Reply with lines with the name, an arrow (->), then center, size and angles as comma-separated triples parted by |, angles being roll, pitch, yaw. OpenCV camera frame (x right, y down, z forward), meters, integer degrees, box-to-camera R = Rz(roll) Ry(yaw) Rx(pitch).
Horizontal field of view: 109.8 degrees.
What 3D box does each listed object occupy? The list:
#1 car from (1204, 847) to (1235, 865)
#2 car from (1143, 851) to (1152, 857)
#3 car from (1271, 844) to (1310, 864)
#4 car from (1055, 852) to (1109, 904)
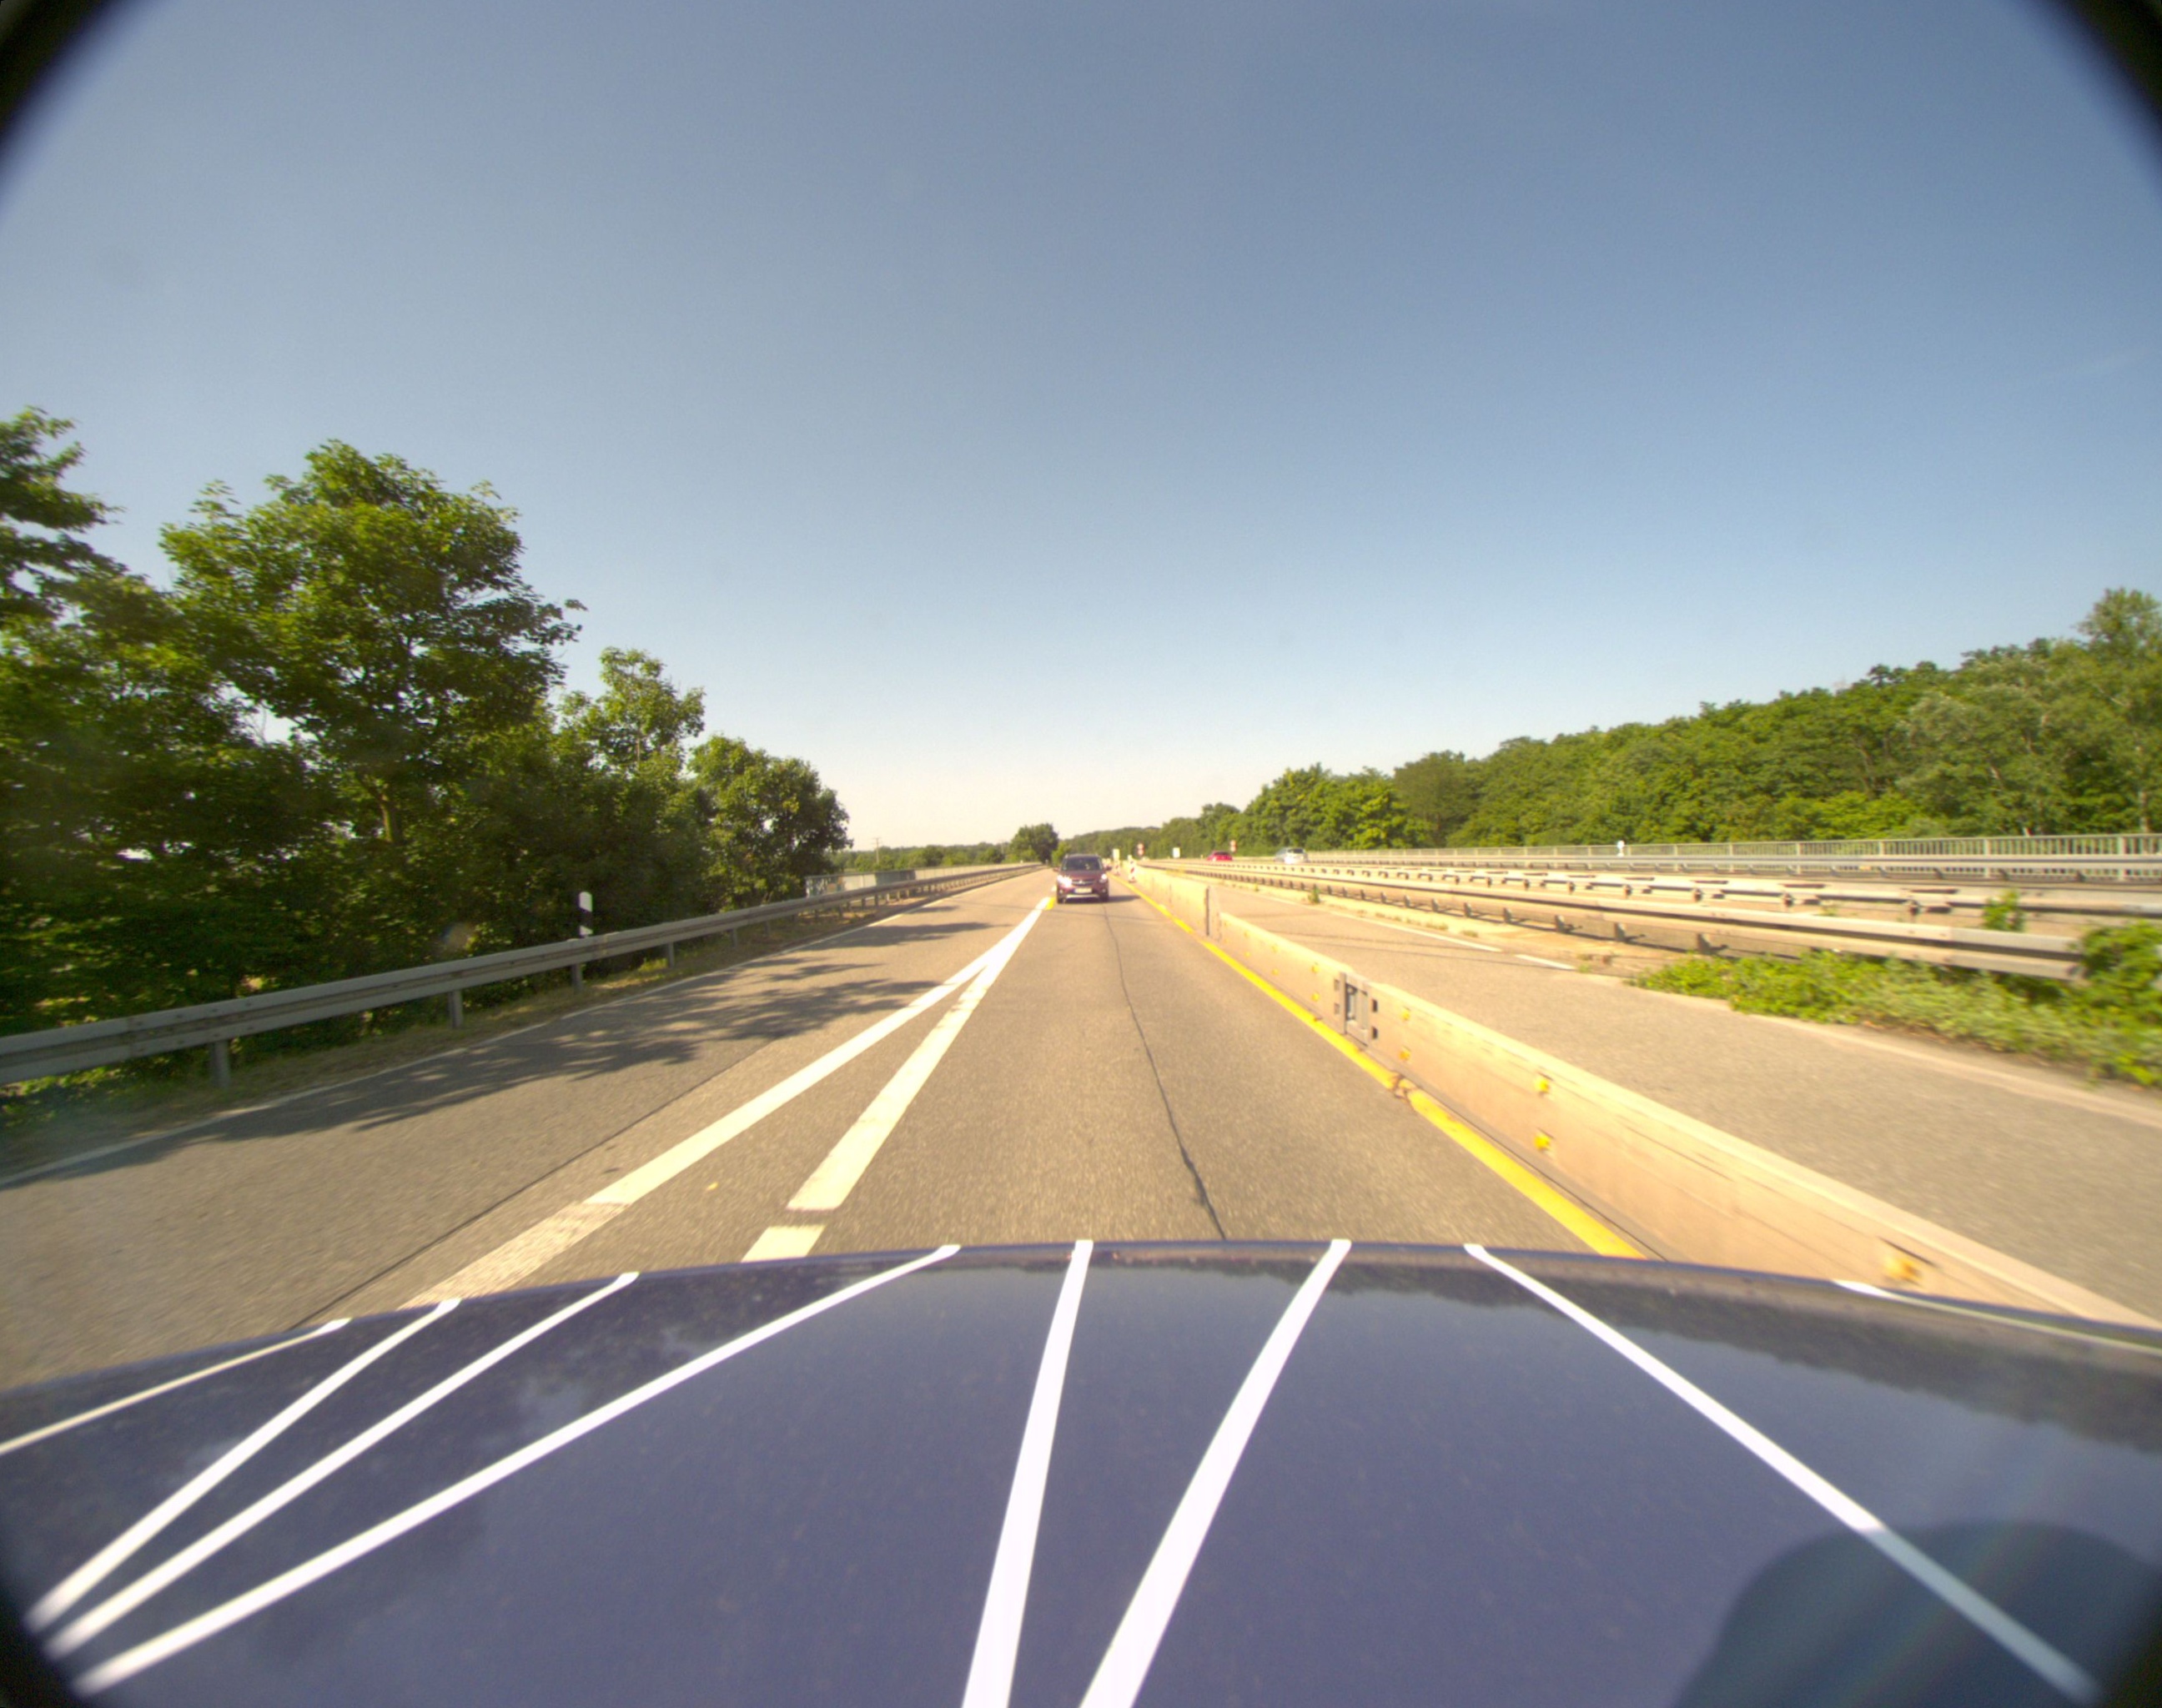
car -> 11.395, 0.170, 62.881 | 1.718, 1.389, 4.220 | -2, 0, 0
car -> 16.096, -0.087, 183.007 | 1.744, 1.331, 4.551 | -2, 0, 0
car -> 15.678, -0.023, 56.947 | 1.782, 1.385, 4.125 | -1, 0, 0
car -> 0.113, 0.734, 24.940 | 1.587, 1.491, 4.416 | -2, 0, 2
